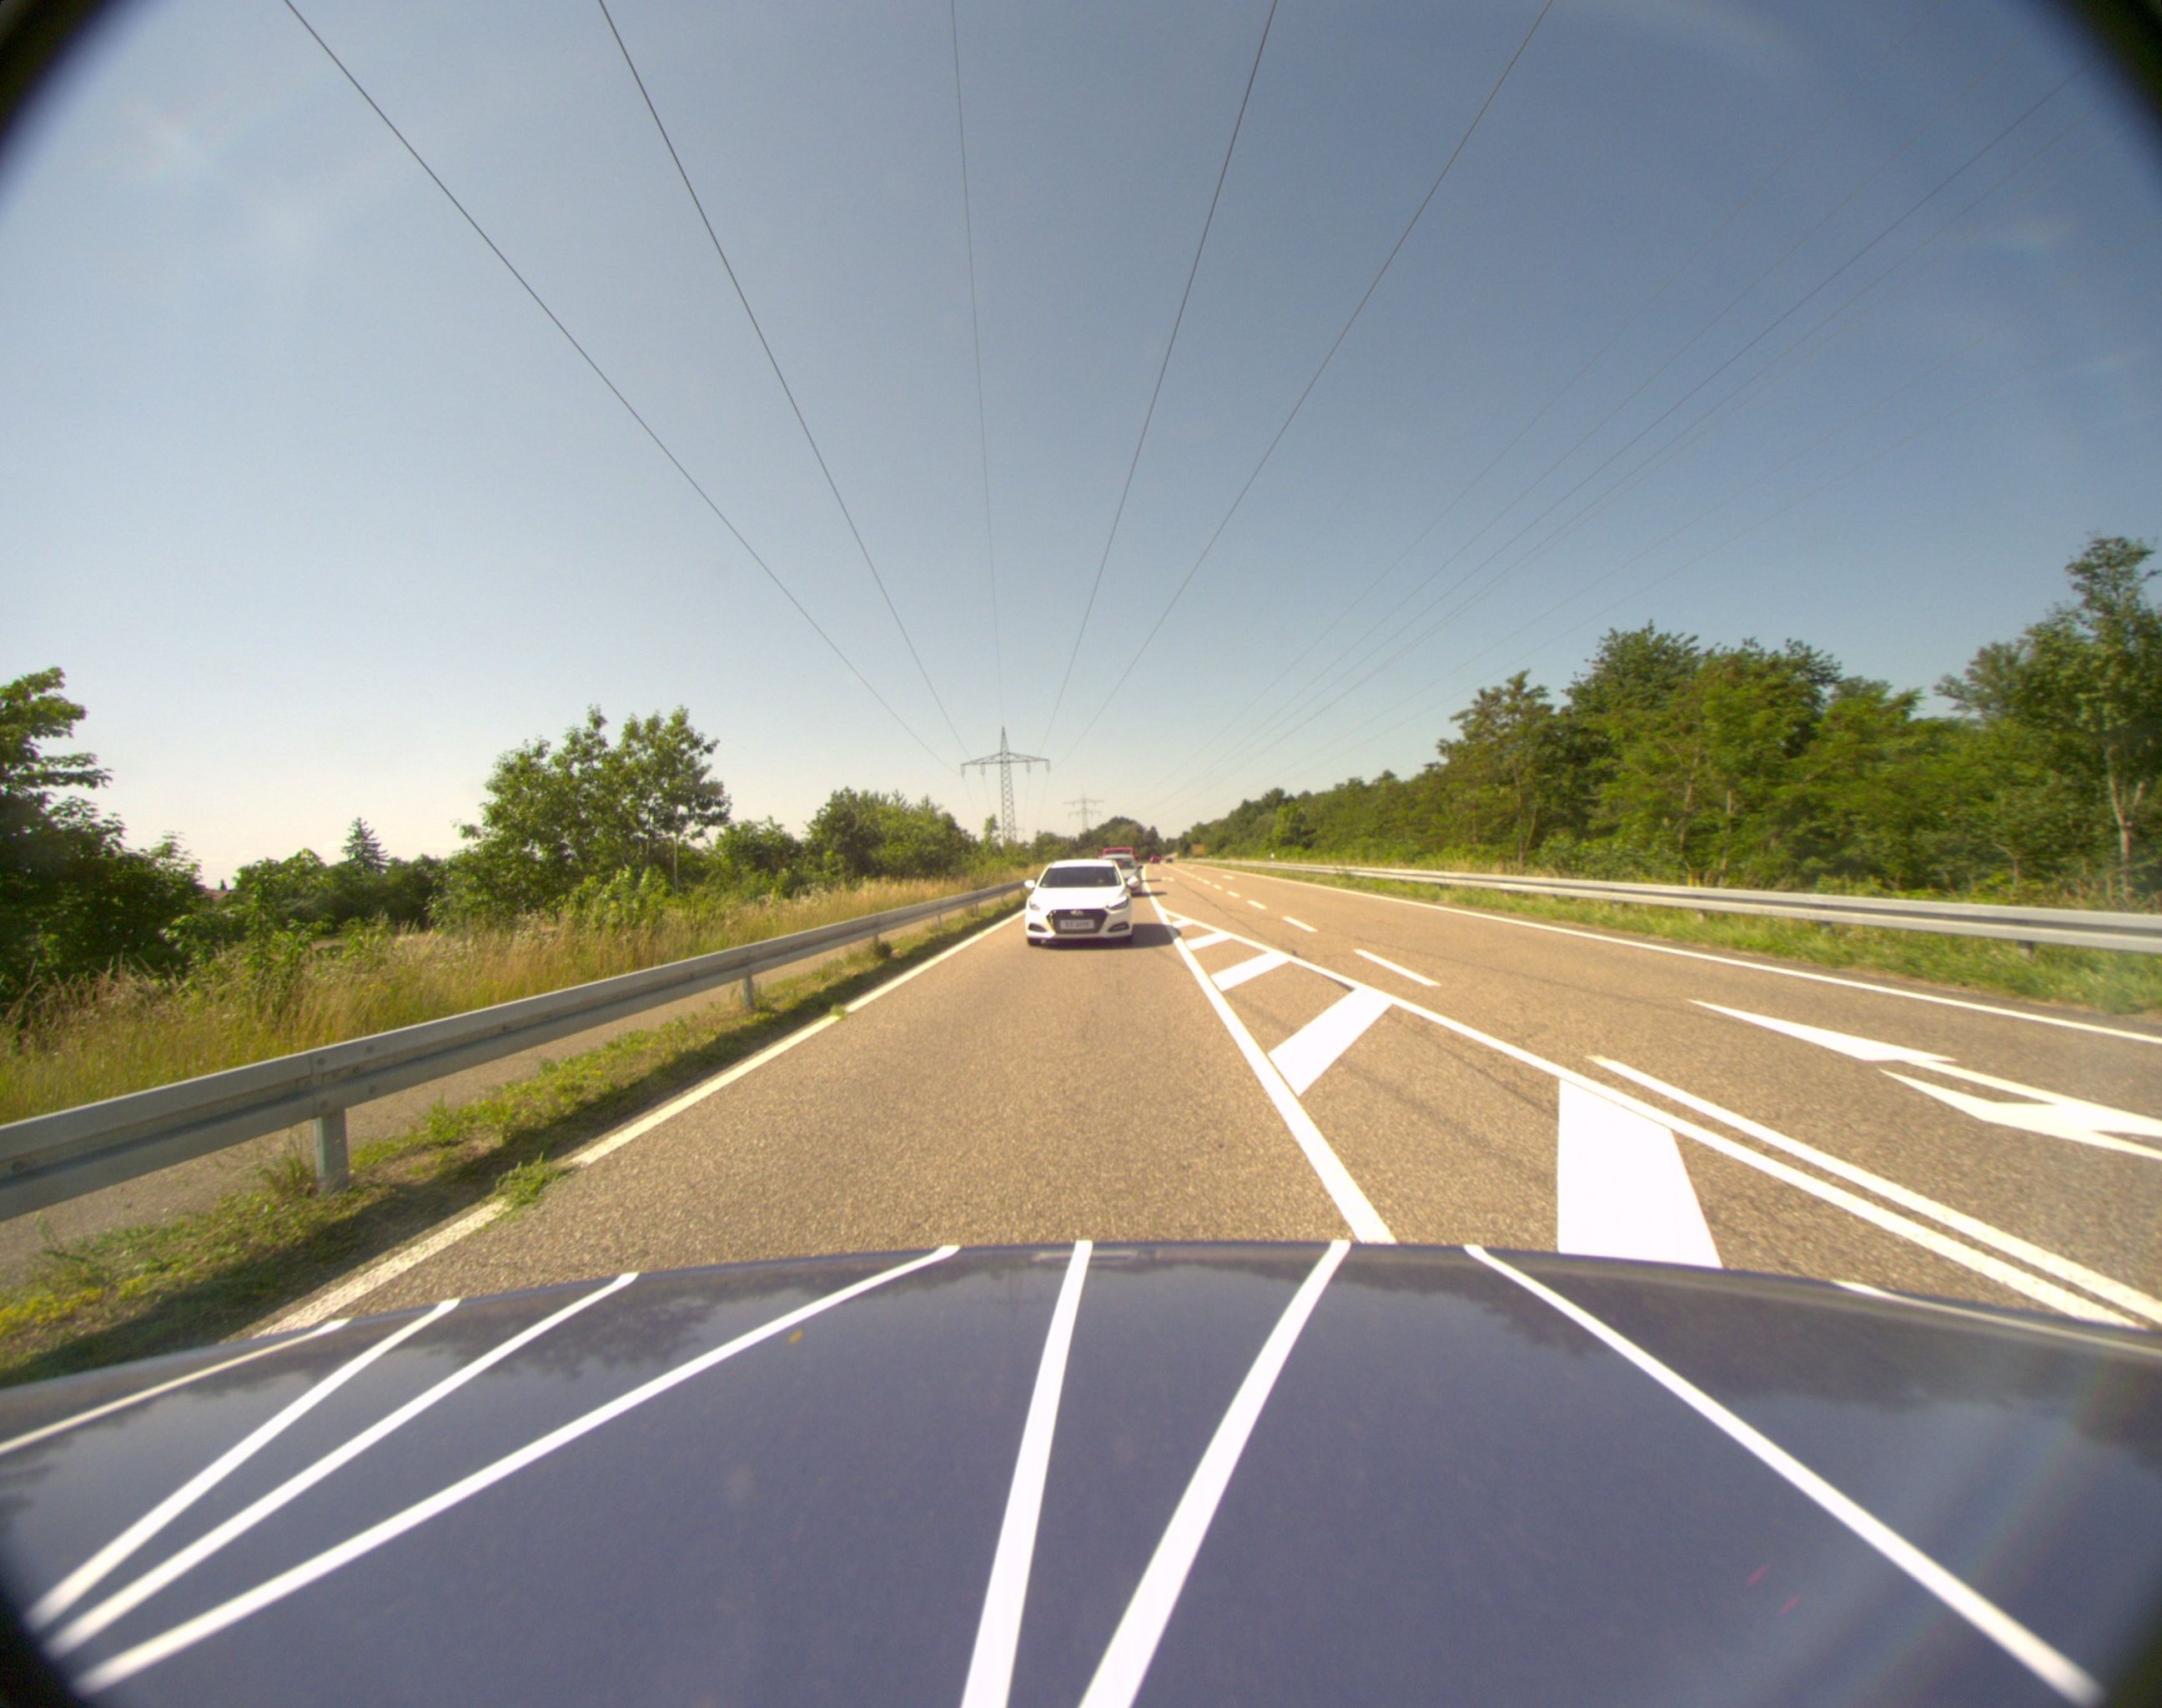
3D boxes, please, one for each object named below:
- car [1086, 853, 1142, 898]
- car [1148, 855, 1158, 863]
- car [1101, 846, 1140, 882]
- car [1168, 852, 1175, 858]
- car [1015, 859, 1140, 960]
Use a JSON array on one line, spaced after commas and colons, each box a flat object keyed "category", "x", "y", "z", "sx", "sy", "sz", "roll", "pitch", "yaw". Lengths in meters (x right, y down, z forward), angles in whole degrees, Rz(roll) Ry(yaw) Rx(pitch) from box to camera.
[{"category": "car", "x": 1.302, "y": 0.765, "z": 29.394, "sx": 1.922, "sy": 1.540, "sz": 4.794, "roll": -2, "pitch": 0, "yaw": 3}, {"category": "car", "x": 14.162, "y": 1.039, "z": 149.503, "sx": 1.833, "sy": 1.574, "sz": 4.001, "roll": -1, "pitch": 0, "yaw": 3}, {"category": "car", "x": 2.255, "y": 0.565, "z": 44.865, "sx": 2.126, "sy": 1.934, "sz": 5.019, "roll": -2, "pitch": 0, "yaw": 1}, {"category": "car", "x": 23.690, "y": 0.354, "z": 198.530, "sx": 1.832, "sy": 1.574, "sz": 4.002, "roll": -1, "pitch": 0, "yaw": 6}, {"category": "car", "x": 0.065, "y": 0.894, "z": 14.409, "sx": 1.922, "sy": 1.496, "sz": 4.794, "roll": -2, "pitch": 0, "yaw": 3}]
